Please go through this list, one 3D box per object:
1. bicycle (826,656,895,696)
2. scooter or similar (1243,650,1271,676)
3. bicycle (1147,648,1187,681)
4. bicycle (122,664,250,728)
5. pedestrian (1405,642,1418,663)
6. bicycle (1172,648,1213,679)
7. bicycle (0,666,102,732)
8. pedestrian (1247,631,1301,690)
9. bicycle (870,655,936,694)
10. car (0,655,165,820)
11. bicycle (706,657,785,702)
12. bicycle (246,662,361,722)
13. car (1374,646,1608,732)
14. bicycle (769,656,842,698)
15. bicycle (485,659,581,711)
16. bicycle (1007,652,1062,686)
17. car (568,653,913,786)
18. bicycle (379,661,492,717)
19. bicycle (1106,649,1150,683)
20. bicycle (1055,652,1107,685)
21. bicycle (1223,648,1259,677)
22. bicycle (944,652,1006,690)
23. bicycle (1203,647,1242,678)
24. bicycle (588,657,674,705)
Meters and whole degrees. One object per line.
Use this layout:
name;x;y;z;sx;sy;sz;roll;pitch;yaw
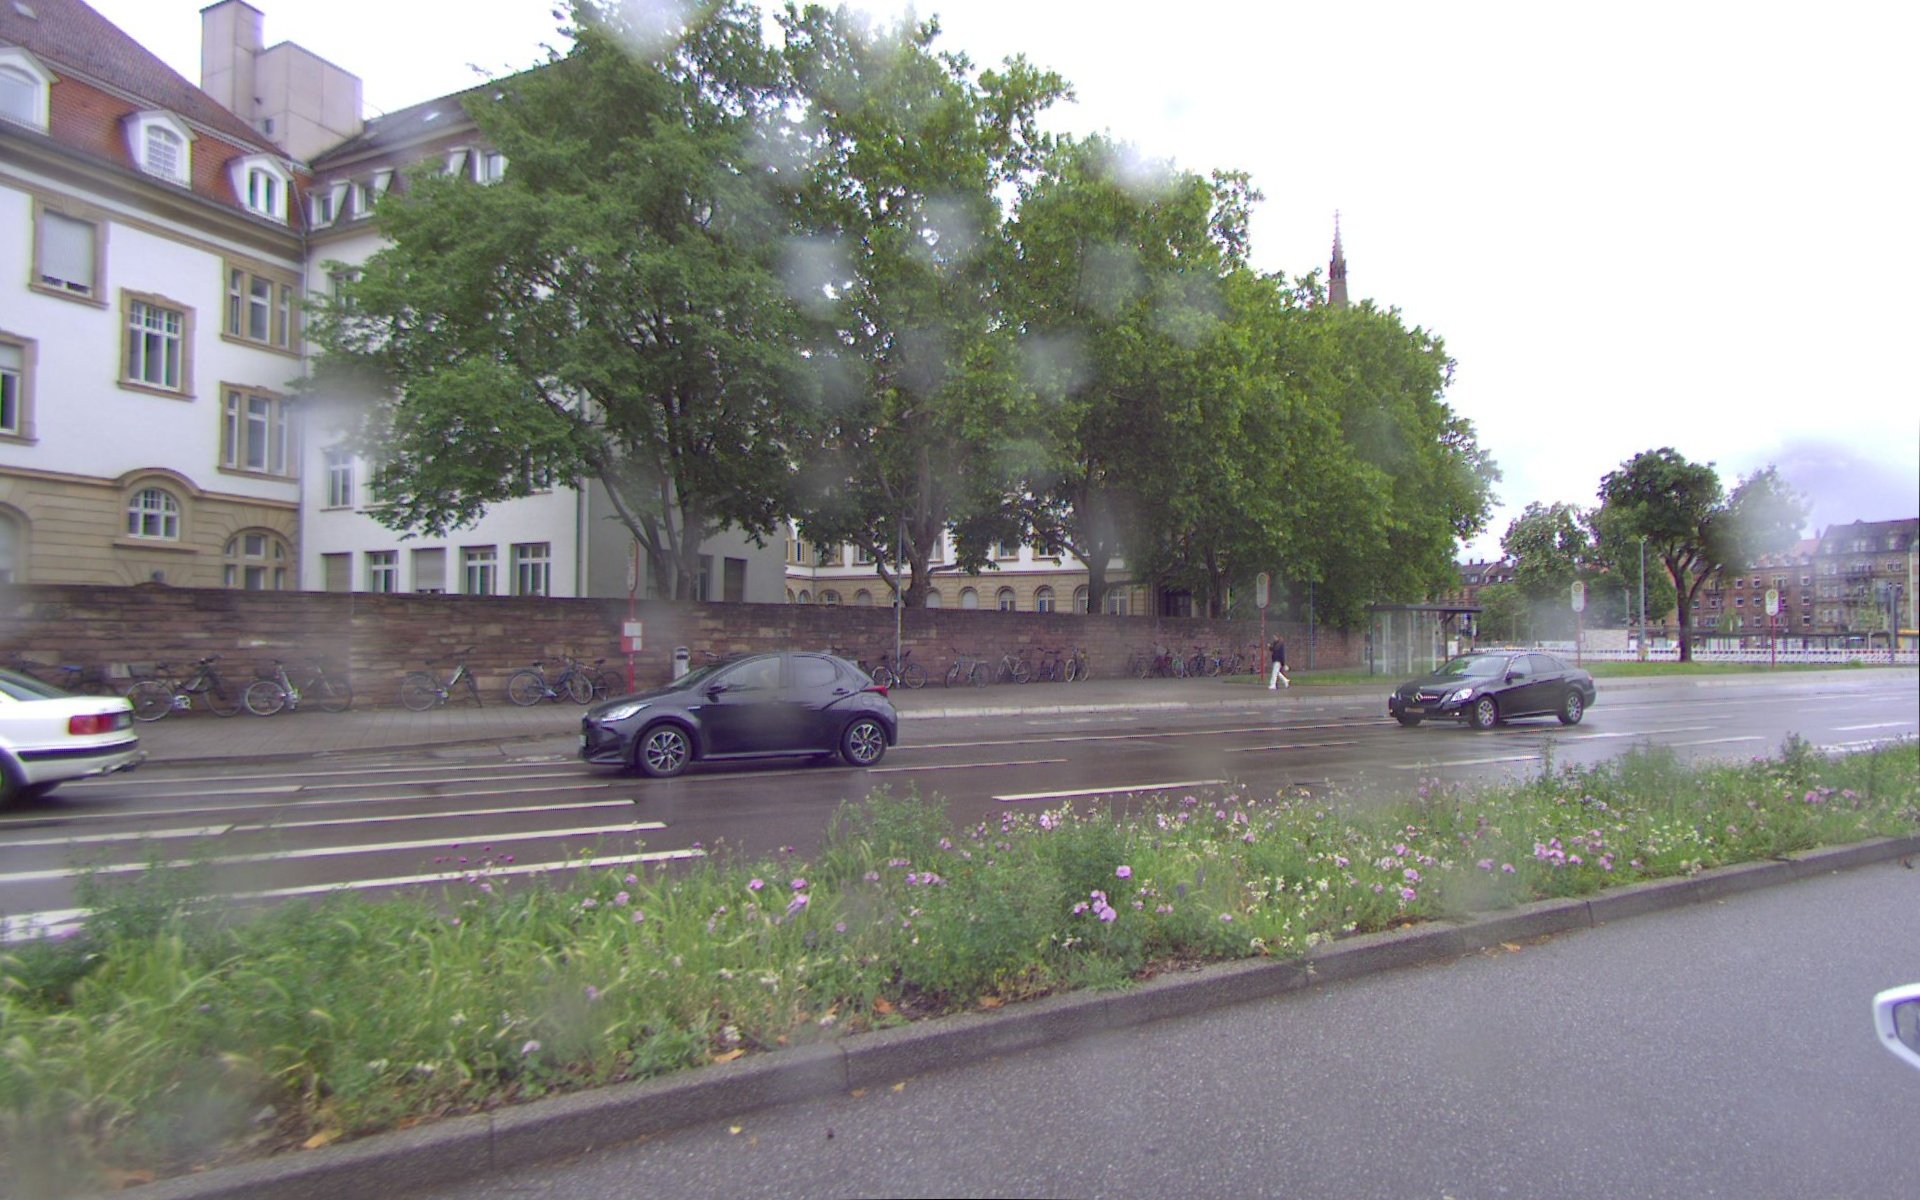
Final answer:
bicycle;-2.604;1.981;26.386;1.688;0.996;0.725;2;-2;-41
scooter or similar;12.572;2.654;42.542;0.566;1.060;1.354;-2;-3;44
bicycle;7.543;2.342;36.559;0.566;1.150;1.982;-2;-3;40
bicycle;-13.284;1.624;17.262;1.688;0.996;0.725;2;-2;-41
pedestrian;40.142;4.666;89.292;0.764;1.801;0.721;1;-2;-26
bicycle;8.840;2.403;38.167;0.567;1.150;1.979;-2;-3;44
bicycle;-15.002;1.587;16.238;1.688;0.996;0.725;2;-2;-41
pedestrian;9.387;1.779;30.033;1.386;1.718;0.862;1;-2;-36
bicycle;-1.534;2.011;27.196;1.688;0.996;0.725;2;-2;-41
car;-9.959;1.215;8.766;4.469;1.434;1.589;1;-4;-29
bicycle;-5.114;1.876;23.993;1.688;0.996;0.725;2;-2;-41
bicycle;-12.069;1.670;18.488;1.688;0.996;0.725;2;-2;-41
car;10.714;1.734;20.223;4.642;1.560;1.803;1;-4;-27
bicycle;-3.859;1.921;25.201;1.688;0.996;0.725;2;-2;-41
bicycle;-8.841;1.745;20.834;1.688;0.996;0.725;2;-2;-41
bicycle;2.310;2.104;31.046;1.688;0.996;0.725;2;-2;-41
car;-2.743;1.416;12.776;4.016;1.434;1.617;1;-4;-29
bicycle;-10.165;1.706;19.496;1.847;0.996;0.726;2;-2;-37
bicycle;5.834;2.277;34.859;0.566;1.150;1.982;-2;-3;40
bicycle;3.899;2.194;32.370;1.688;0.996;0.725;2;-2;-41
bicycle;11.605;2.554;41.473;0.567;1.150;1.979;-2;-3;44
bicycle;0.434;1.998;28.445;1.688;0.996;0.725;2;-2;-41
bicycle;10.408;2.465;39.799;0.567;1.150;1.979;-2;-3;44
bicycle;-7.309;1.775;22.355;1.688;0.996;0.725;2;-2;-41
